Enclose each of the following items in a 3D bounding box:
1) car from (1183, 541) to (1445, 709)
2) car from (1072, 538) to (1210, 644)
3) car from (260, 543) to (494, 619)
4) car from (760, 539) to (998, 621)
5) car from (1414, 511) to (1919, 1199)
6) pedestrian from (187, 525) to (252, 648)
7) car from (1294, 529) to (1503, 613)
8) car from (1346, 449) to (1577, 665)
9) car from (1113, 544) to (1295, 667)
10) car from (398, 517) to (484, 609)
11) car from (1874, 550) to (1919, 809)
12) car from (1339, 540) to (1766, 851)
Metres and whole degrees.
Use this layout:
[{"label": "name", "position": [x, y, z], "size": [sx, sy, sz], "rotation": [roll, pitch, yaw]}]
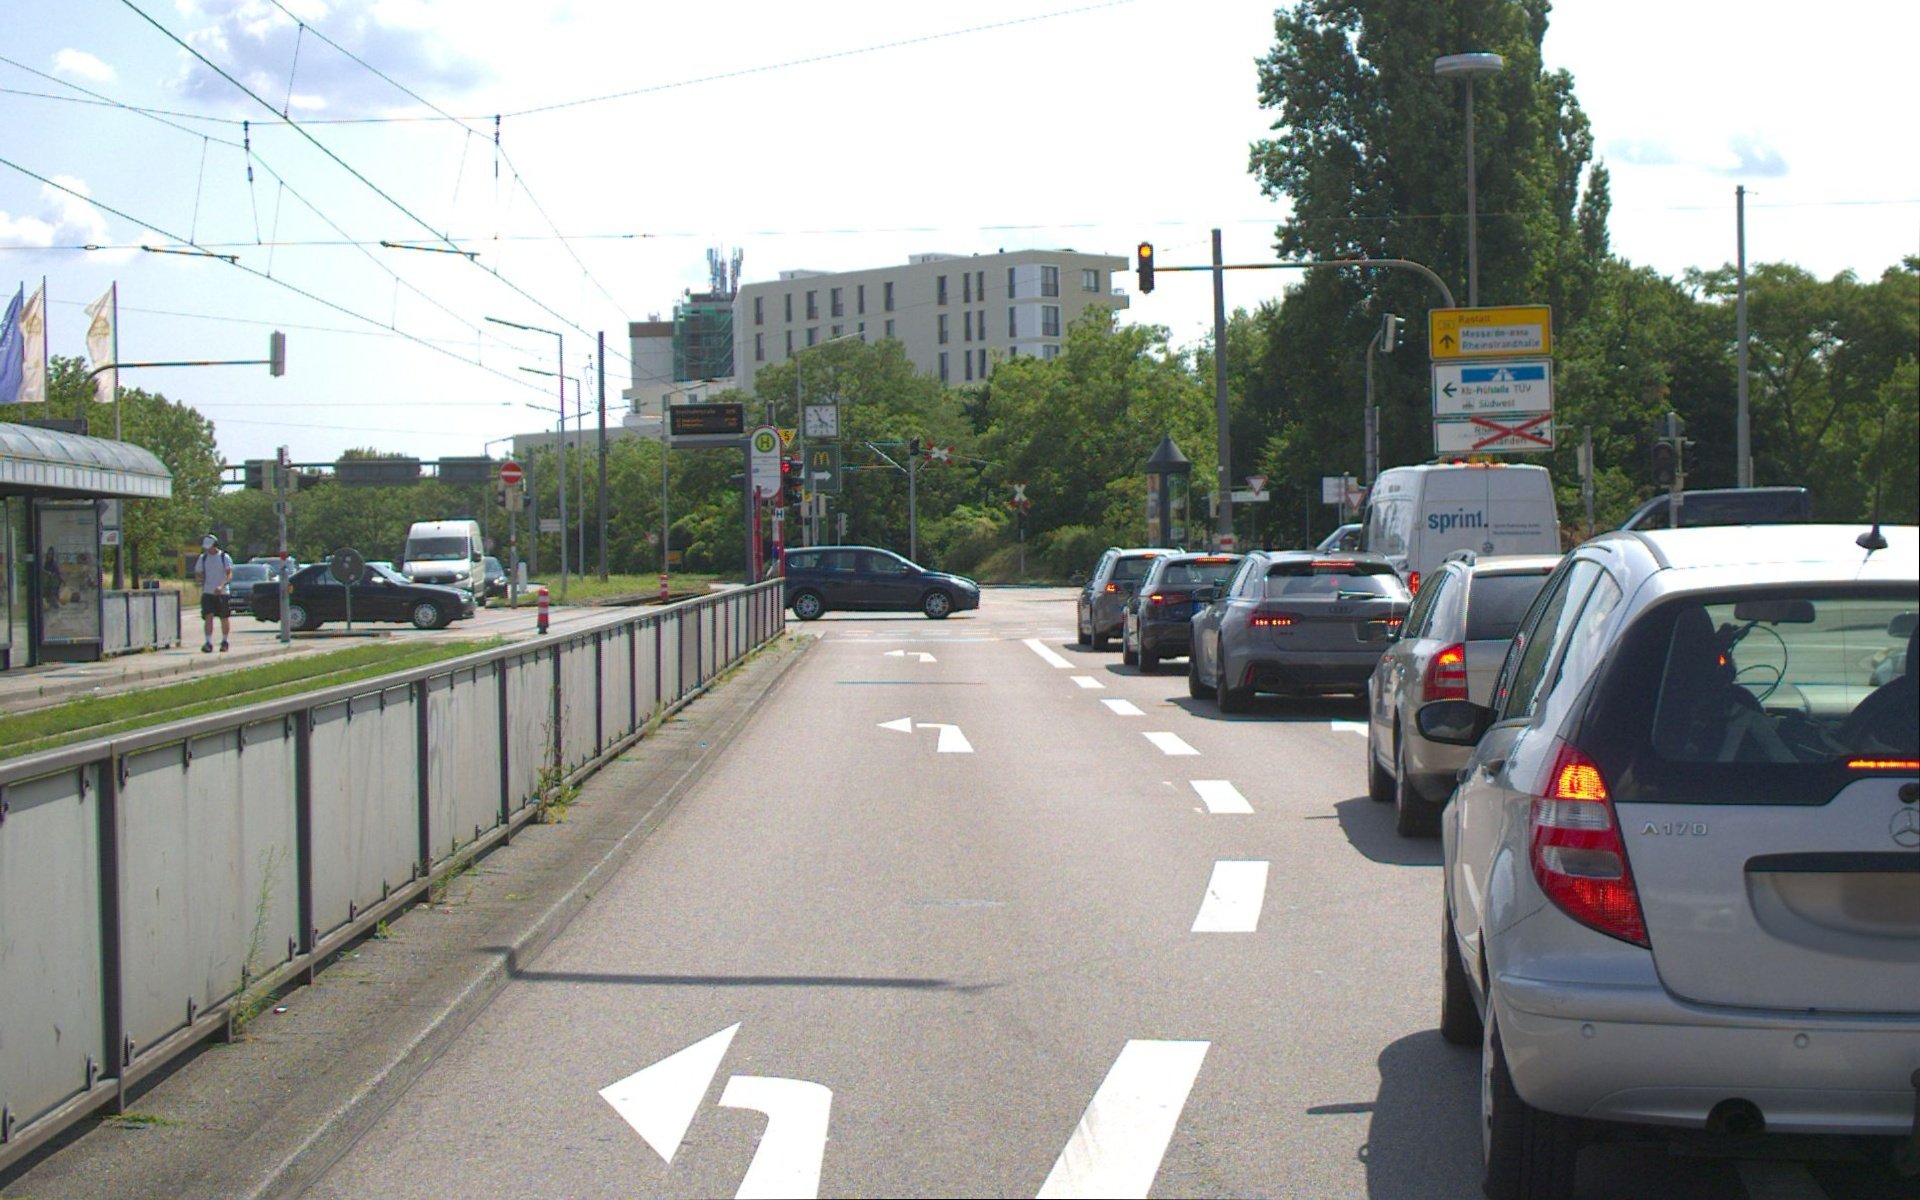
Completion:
[{"label": "car", "position": [3.235, 0.179, 32.305], "size": [1.887, 1.443, 4.828], "rotation": [0, 1, -1]}, {"label": "car", "position": [2.623, -0.163, 50.730], "size": [1.744, 1.494, 4.380], "rotation": [0, 1, -1]}, {"label": "car", "position": [-11.900, -0.401, 70.387], "size": [4.459, 1.509, 2.000], "rotation": [0, 1, 0]}, {"label": "car", "position": [-1.630, -0.419, 70.493], "size": [4.675, 1.543, 2.000], "rotation": [-1, 1, 5]}, {"label": "car", "position": [2.166, 0.562, 9.154], "size": [1.787, 1.571, 4.093], "rotation": [-1, 1, 6]}, {"label": "pedestrian", "position": [-10.910, -0.200, 50.649], "size": [0.807, 1.789, 0.709], "rotation": [-1, 1, -3]}, {"label": "car", "position": [10.374, -0.700, 81.499], "size": [4.676, 1.929, 2.000], "rotation": [0, 1, 0]}, {"label": "car", "position": [6.297, -0.562, 43.752], "size": [2.041, 2.549, 5.232], "rotation": [-1, 1, -1]}, {"label": "car", "position": [2.940, 0.027, 42.120], "size": [1.869, 1.415, 4.100], "rotation": [0, 1, -1]}, {"label": "car", "position": [-15.023, -1.074, 99.784], "size": [1.993, 2.597, 4.879], "rotation": [0, 1, -3]}, {"label": "car", "position": [6.394, 0.478, 18.905], "size": [1.855, 1.487, 4.535], "rotation": [0, 1, 5]}, {"label": "car", "position": [3.106, 0.421, 18.876], "size": [1.739, 1.487, 4.629], "rotation": [0, 1, 3]}]
